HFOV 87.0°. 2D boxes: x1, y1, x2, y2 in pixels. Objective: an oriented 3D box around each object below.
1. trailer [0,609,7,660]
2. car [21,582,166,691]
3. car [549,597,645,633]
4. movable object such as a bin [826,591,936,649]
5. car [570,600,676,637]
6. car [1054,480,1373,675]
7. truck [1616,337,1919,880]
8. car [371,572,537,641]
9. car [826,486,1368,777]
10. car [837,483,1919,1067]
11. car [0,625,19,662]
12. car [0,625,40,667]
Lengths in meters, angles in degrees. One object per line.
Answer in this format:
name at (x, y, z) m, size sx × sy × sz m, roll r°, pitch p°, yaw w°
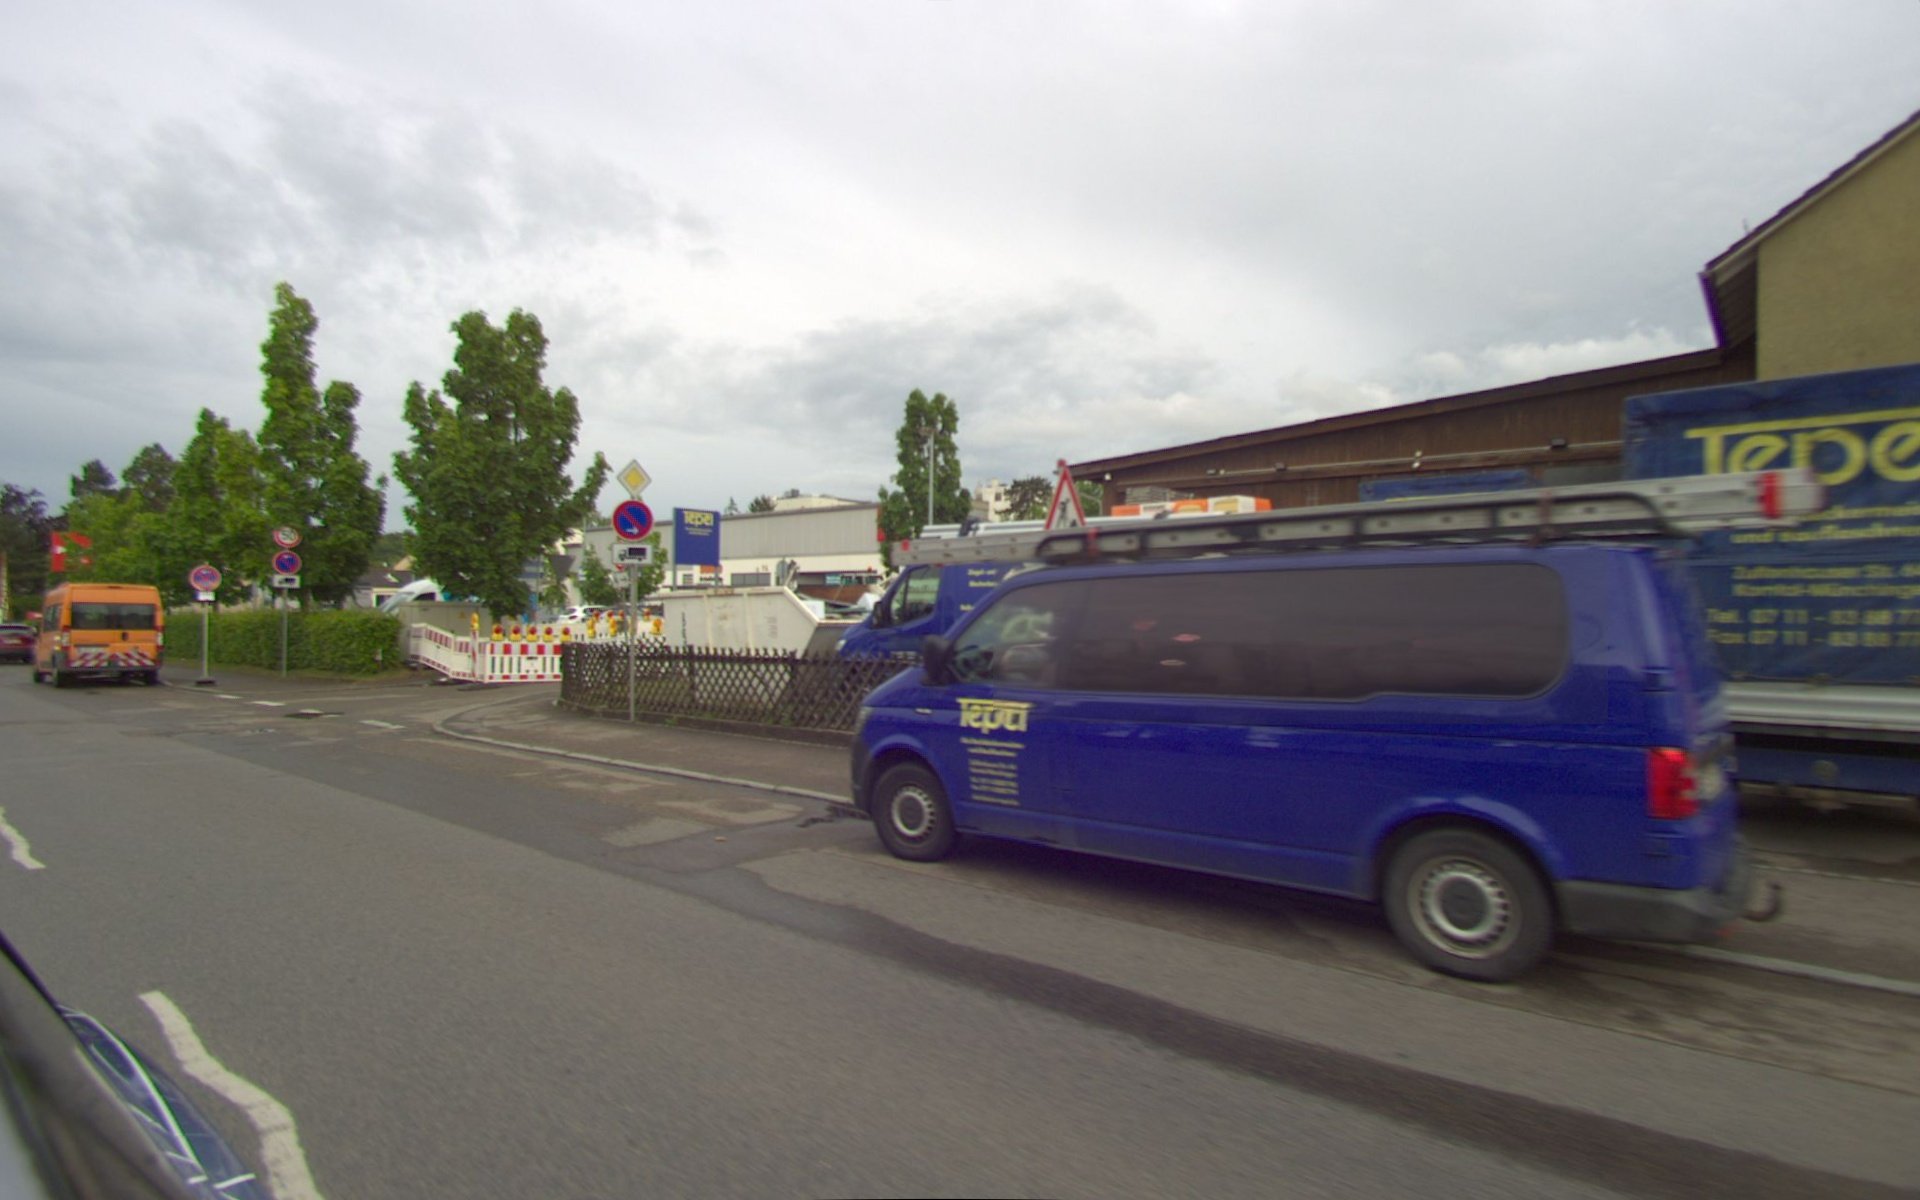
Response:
trailer at (-46.153, 1.569, 47.270) m, size 4.727 × 2.331 × 1.794 m, roll -1°, pitch -3°, yaw 41°
car at (-22.984, 0.907, 26.753) m, size 6.019 × 2.557 × 2.102 m, roll -1°, pitch -1°, yaw 41°
car at (-16.588, 0.665, 46.326) m, size 1.691 × 1.531 × 3.855 m, roll 0°, pitch 1°, yaw 36°
movable object such as a bin at (-2.596, 0.622, 33.840) m, size 1.995 × 1.773 × 3.393 m, roll 0°, pitch 1°, yaw 34°
car at (-14.798, 0.770, 44.585) m, size 1.918 × 1.488 × 4.011 m, roll 0°, pitch 1°, yaw 43°
car at (4.426, -0.358, 18.294) m, size 5.241 × 3.036 × 2.054 m, roll 0°, pitch 1°, yaw 42°
truck at (7.220, -0.003, 8.121) m, size 2.449 × 3.096 × 5.850 m, roll 0°, pitch 1°, yaw 41°
car at (-16.032, 0.162, 32.241) m, size 2.062 × 2.029 × 4.261 m, roll 0°, pitch 1°, yaw 41°
car at (1.256, 0.276, 11.841) m, size 6.199 × 2.586 × 2.054 m, roll 0°, pitch 1°, yaw 42°
car at (1.841, 0.586, 5.878) m, size 5.362 × 1.962 × 1.973 m, roll 0°, pitch 1°, yaw 41°
car at (-41.412, 1.837, 42.929) m, size 4.134 × 1.510 × 1.754 m, roll -2°, pitch -1°, yaw 41°
car at (-37.653, 1.771, 39.688) m, size 4.339 × 1.585 × 1.787 m, roll -1°, pitch -2°, yaw 41°
